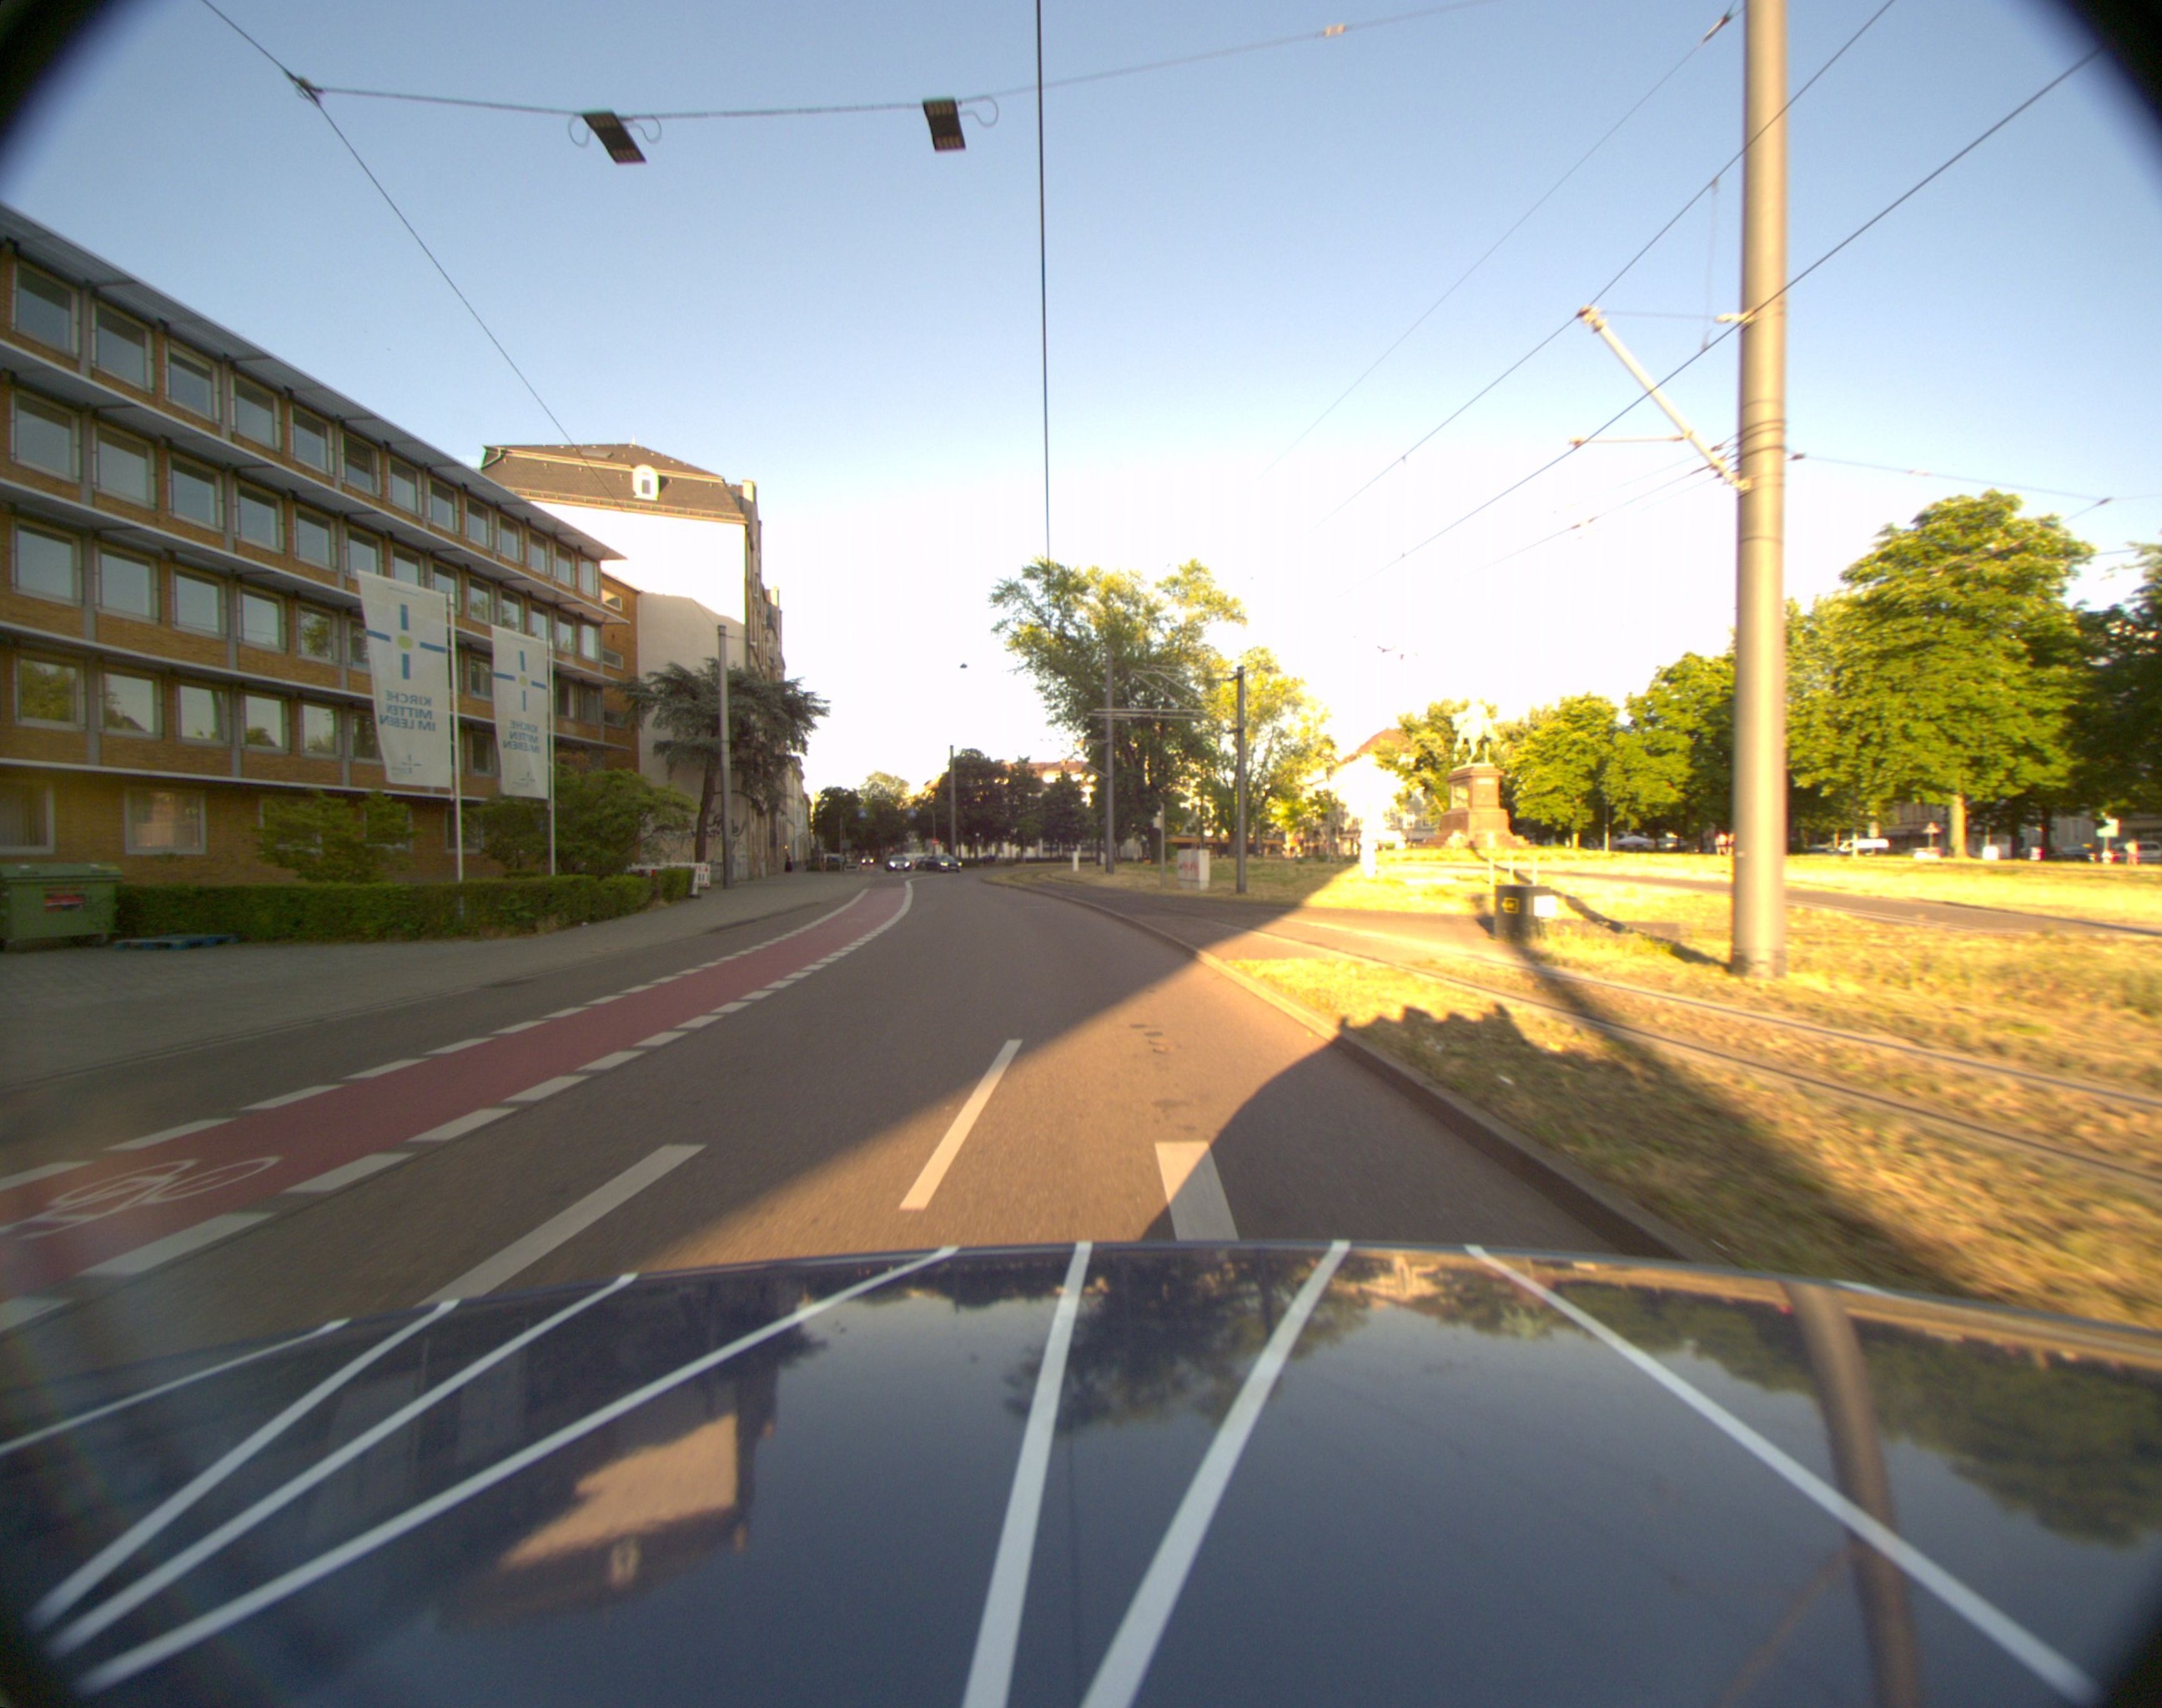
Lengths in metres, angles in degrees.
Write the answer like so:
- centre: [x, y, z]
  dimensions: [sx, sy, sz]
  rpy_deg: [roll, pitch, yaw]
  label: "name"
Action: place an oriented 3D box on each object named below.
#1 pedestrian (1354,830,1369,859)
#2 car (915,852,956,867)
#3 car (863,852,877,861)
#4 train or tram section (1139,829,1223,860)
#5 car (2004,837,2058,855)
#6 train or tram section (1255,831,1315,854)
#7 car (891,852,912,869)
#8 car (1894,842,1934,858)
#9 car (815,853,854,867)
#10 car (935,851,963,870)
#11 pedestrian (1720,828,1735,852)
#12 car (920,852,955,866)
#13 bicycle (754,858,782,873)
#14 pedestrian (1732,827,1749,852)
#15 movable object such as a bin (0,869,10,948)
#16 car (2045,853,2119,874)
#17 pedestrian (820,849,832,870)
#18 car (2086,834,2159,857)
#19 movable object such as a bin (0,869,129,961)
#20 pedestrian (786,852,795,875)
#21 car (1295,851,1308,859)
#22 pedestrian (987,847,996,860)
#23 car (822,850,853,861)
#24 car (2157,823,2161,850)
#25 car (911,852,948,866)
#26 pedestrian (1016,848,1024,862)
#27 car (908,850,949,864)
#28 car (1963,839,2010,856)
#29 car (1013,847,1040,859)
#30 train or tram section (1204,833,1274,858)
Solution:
- centre: [15.960, -0.535, 43.228]
  dimensions: [0.476, 1.680, 0.835]
  rpy_deg: [0, 1, -10]
  label: "pedestrian"
- centre: [-15.702, 0.592, 82.003]
  dimensions: [4.066, 1.547, 1.865]
  rpy_deg: [0, 0, -2]
  label: "car"
- centre: [-36.182, 0.400, 130.481]
  dimensions: [1.821, 1.473, 4.132]
  rpy_deg: [-1, -1, -10]
  label: "car"
- centre: [12.205, -1.201, 91.351]
  dimensions: [2.941, 3.563, 13.394]
  rpy_deg: [0, 1, 42]
  label: "train or tram section"
- centre: [86.770, -0.711, 69.441]
  dimensions: [1.792, 1.570, 4.008]
  rpy_deg: [-1, -1, 31]
  label: "car"
- centre: [29.756, -1.727, 110.443]
  dimensions: [2.917, 3.123, 12.670]
  rpy_deg: [0, 1, 42]
  label: "train or tram section"
- centre: [-16.831, 0.619, 71.452]
  dimensions: [1.821, 1.473, 4.132]
  rpy_deg: [0, -1, -11]
  label: "car"
- centre: [89.649, -0.400, 81.785]
  dimensions: [1.792, 1.570, 4.008]
  rpy_deg: [-1, -1, 31]
  label: "car"
- centre: [-27.663, 0.705, 85.370]
  dimensions: [4.071, 1.560, 1.835]
  rpy_deg: [0, 0, -15]
  label: "car"
- centre: [-10.818, 0.546, 62.010]
  dimensions: [1.822, 1.473, 4.130]
  rpy_deg: [0, -1, -16]
  label: "car"
- centre: [41.163, -0.907, 48.376]
  dimensions: [0.453, 1.503, 0.553]
  rpy_deg: [0, 0, 6]
  label: "pedestrian"
- centre: [-17.622, 0.616, 93.410]
  dimensions: [4.066, 1.608, 2.000]
  rpy_deg: [0, 0, -2]
  label: "car"
- centre: [-23.023, 0.835, 55.942]
  dimensions: [1.857, 1.066, 0.428]
  rpy_deg: [0, 0, -19]
  label: "bicycle"
- centre: [41.680, -0.925, 48.036]
  dimensions: [0.619, 1.571, 0.553]
  rpy_deg: [0, 0, 6]
  label: "pedestrian"
- centre: [-20.004, 0.977, 13.225]
  dimensions: [1.344, 1.416, 0.924]
  rpy_deg: [0, 0, -3]
  label: "movable object such as a bin"
- centre: [77.499, 0.755, 58.884]
  dimensions: [1.861, 1.547, 4.076]
  rpy_deg: [-1, -1, 27]
  label: "car"
- centre: [-21.423, 0.453, 63.848]
  dimensions: [0.591, 1.781, 0.822]
  rpy_deg: [0, 0, 15]
  label: "pedestrian"
- centre: [80.954, -0.609, 59.139]
  dimensions: [1.755, 1.654, 4.008]
  rpy_deg: [-1, -1, 27]
  label: "car"
- centre: [-17.068, 0.972, 12.620]
  dimensions: [0.972, 1.429, 1.347]
  rpy_deg: [0, 0, 23]
  label: "movable object such as a bin"
- centre: [-21.846, 0.718, 57.129]
  dimensions: [0.578, 1.699, 0.721]
  rpy_deg: [0, 0, -14]
  label: "pedestrian"
- centre: [43.765, 0.168, 150.709]
  dimensions: [1.722, 1.542, 3.969]
  rpy_deg: [0, -1, 5]
  label: "car"
- centre: [-13.387, -0.065, 113.234]
  dimensions: [0.827, 2.002, 1.011]
  rpy_deg: [0, 0, 34]
  label: "pedestrian"
- centre: [-37.276, 0.202, 116.367]
  dimensions: [4.403, 1.603, 1.727]
  rpy_deg: [0, 0, -19]
  label: "car"
- centre: [76.969, -1.258, 52.186]
  dimensions: [1.755, 1.932, 4.217]
  rpy_deg: [-1, -1, 27]
  label: "car"
- centre: [-17.953, 0.613, 90.372]
  dimensions: [4.066, 1.542, 2.000]
  rpy_deg: [0, 0, -2]
  label: "car"
- centre: [-7.547, 0.109, 93.572]
  dimensions: [0.768, 1.705, 0.787]
  rpy_deg: [0, 0, 17]
  label: "pedestrian"
- centre: [-21.112, 0.439, 105.192]
  dimensions: [5.076, 1.891, 2.122]
  rpy_deg: [0, 0, 6]
  label: "car"
- centre: [89.378, -0.656, 75.052]
  dimensions: [1.792, 1.570, 4.008]
  rpy_deg: [-1, -1, 31]
  label: "car"
- centre: [-8.411, -0.134, 117.266]
  dimensions: [4.010, 1.714, 1.702]
  rpy_deg: [0, 0, 3]
  label: "car"
- centre: [21.150, -1.186, 101.019]
  dimensions: [2.923, 3.123, 12.882]
  rpy_deg: [0, 1, 43]
  label: "train or tram section"
